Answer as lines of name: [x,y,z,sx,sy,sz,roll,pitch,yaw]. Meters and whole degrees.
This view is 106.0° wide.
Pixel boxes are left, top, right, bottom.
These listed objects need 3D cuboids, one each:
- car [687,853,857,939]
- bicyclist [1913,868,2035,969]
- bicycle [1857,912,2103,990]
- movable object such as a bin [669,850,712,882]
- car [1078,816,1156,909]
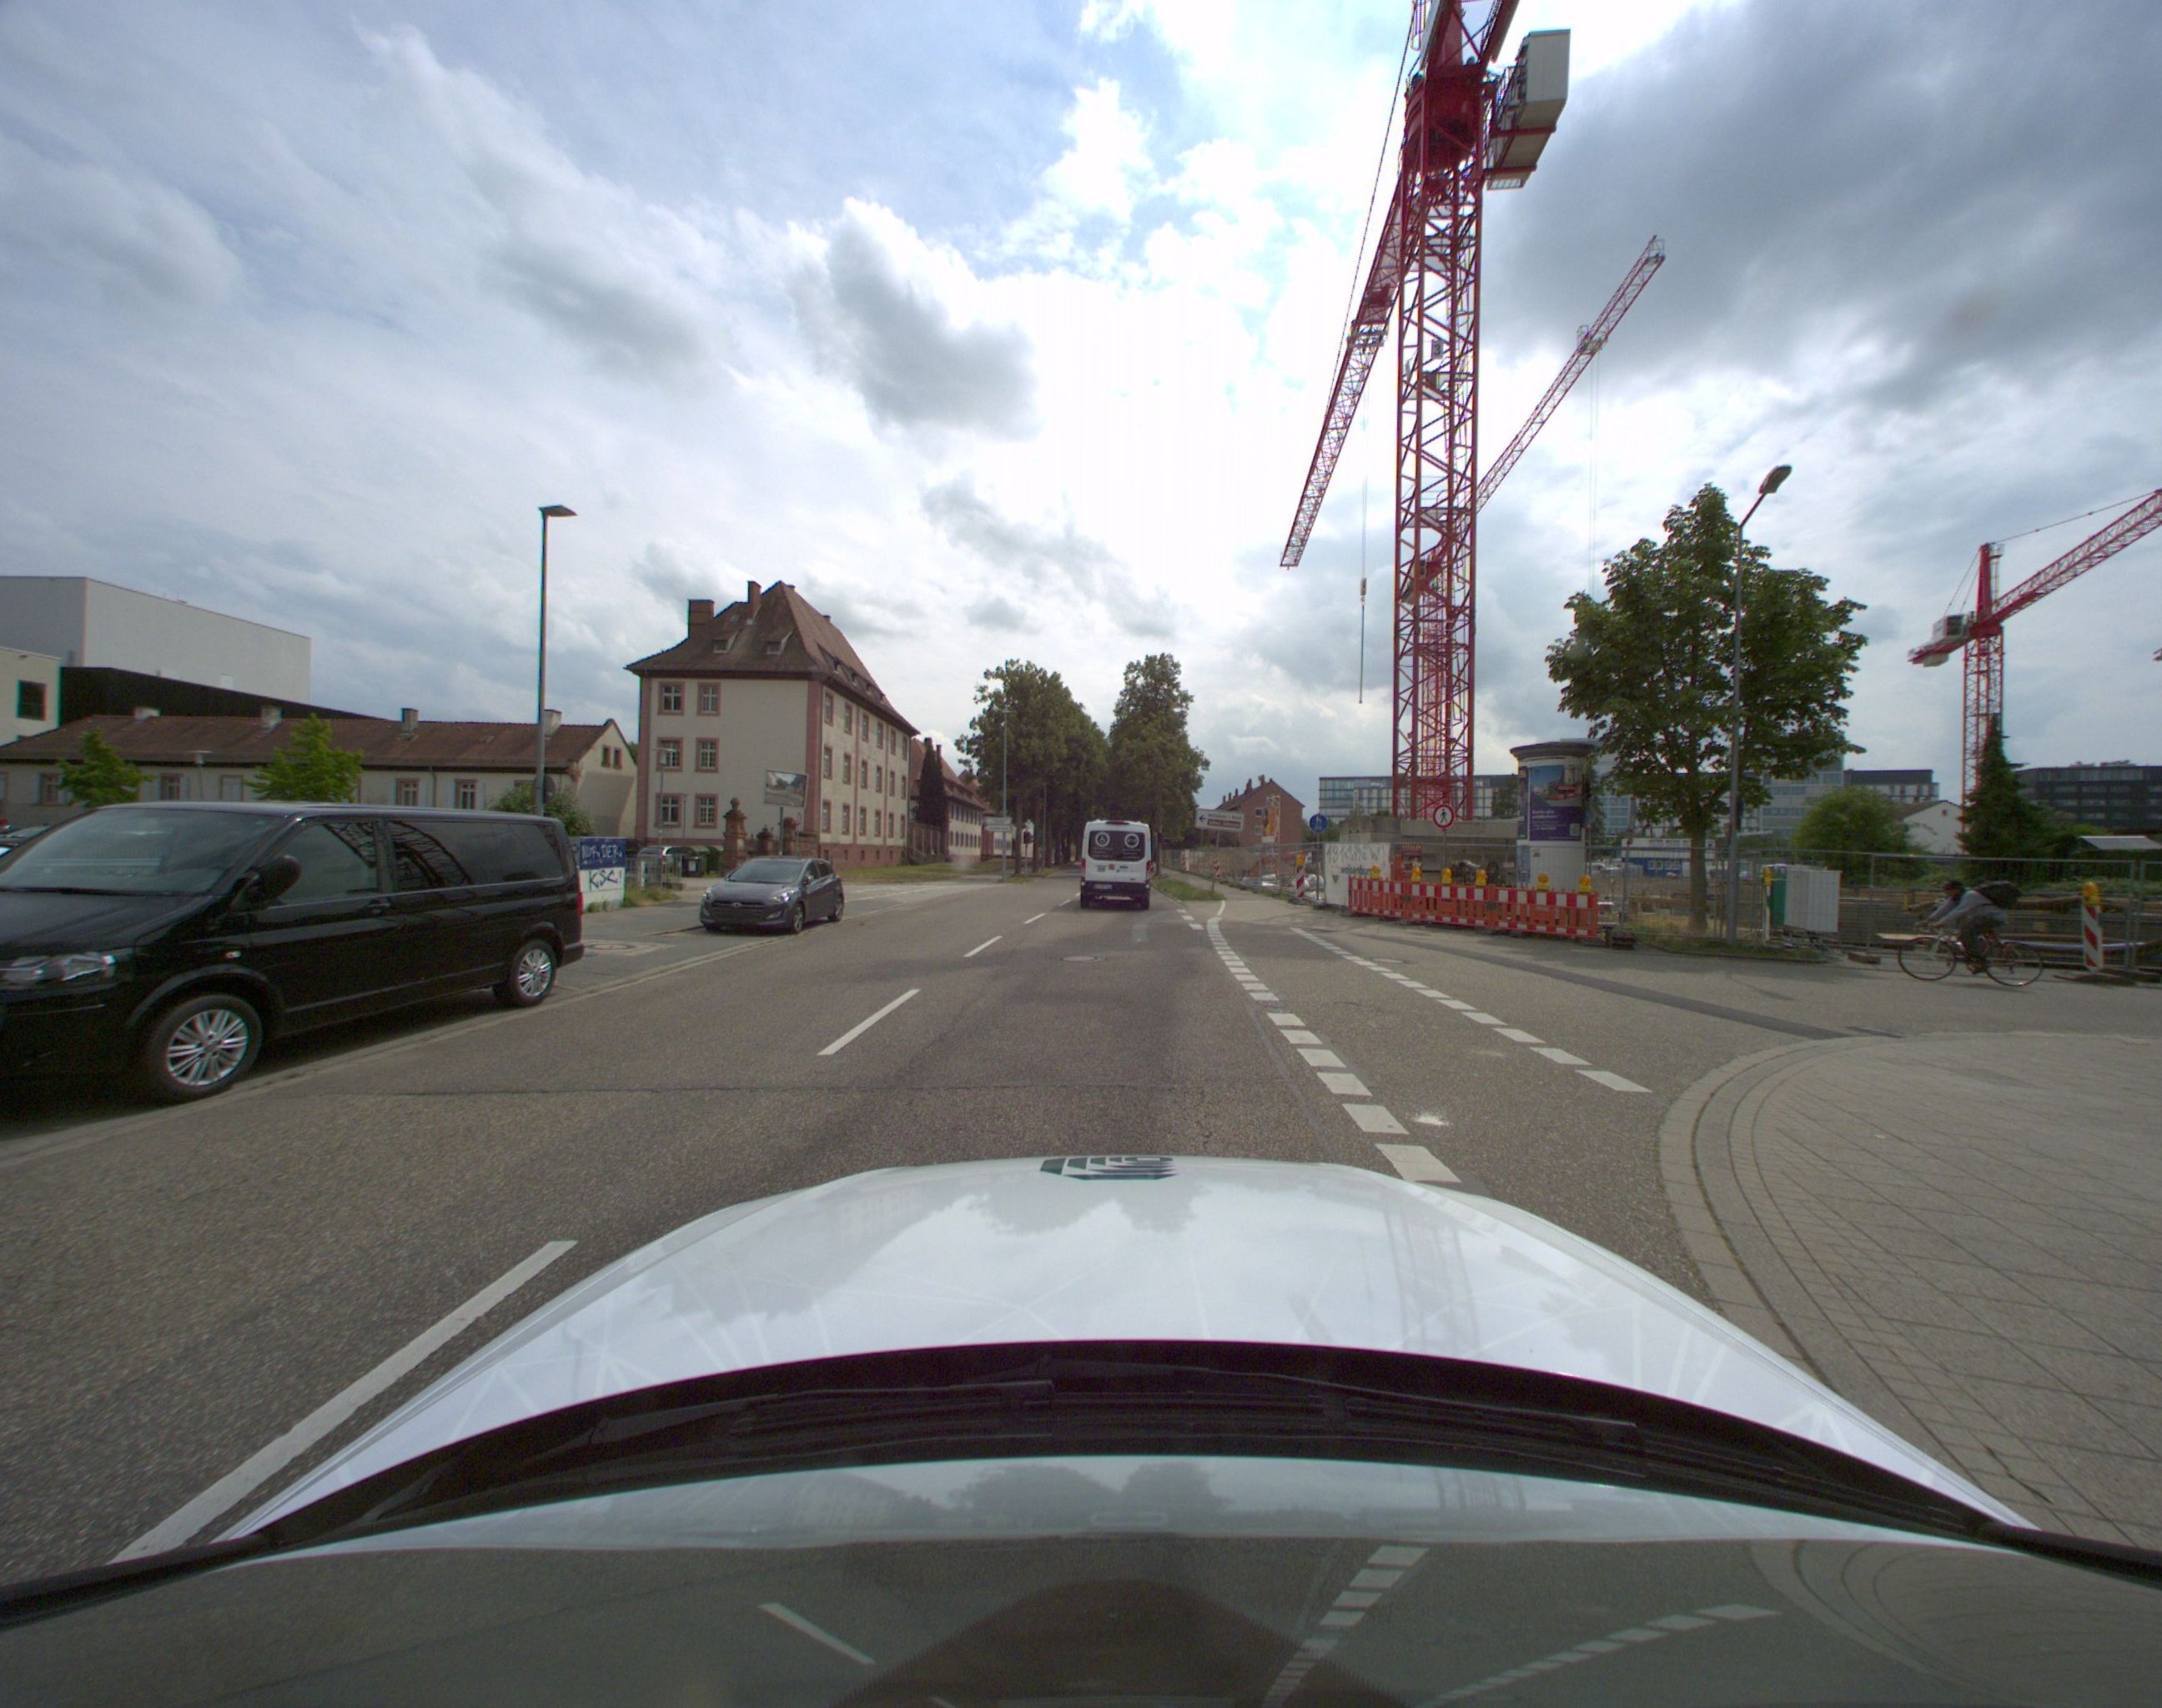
car: [-6.216,0.771,16.956,1.816,1.473,4.296,3,0,0]
bicyclist: [13.817,0.968,12.640,1.067,1.412,0.719,4,2,34]
bicycle: [13.824,1.460,12.655,2.448,0.933,0.719,2,0,34]
movable object such as a bin: [-18.474,0.559,38.566,1.196,1.468,1.572,1,-1,3]
car: [0.983,0.266,24.440,2.057,2.540,3.998,1,-1,-1]
